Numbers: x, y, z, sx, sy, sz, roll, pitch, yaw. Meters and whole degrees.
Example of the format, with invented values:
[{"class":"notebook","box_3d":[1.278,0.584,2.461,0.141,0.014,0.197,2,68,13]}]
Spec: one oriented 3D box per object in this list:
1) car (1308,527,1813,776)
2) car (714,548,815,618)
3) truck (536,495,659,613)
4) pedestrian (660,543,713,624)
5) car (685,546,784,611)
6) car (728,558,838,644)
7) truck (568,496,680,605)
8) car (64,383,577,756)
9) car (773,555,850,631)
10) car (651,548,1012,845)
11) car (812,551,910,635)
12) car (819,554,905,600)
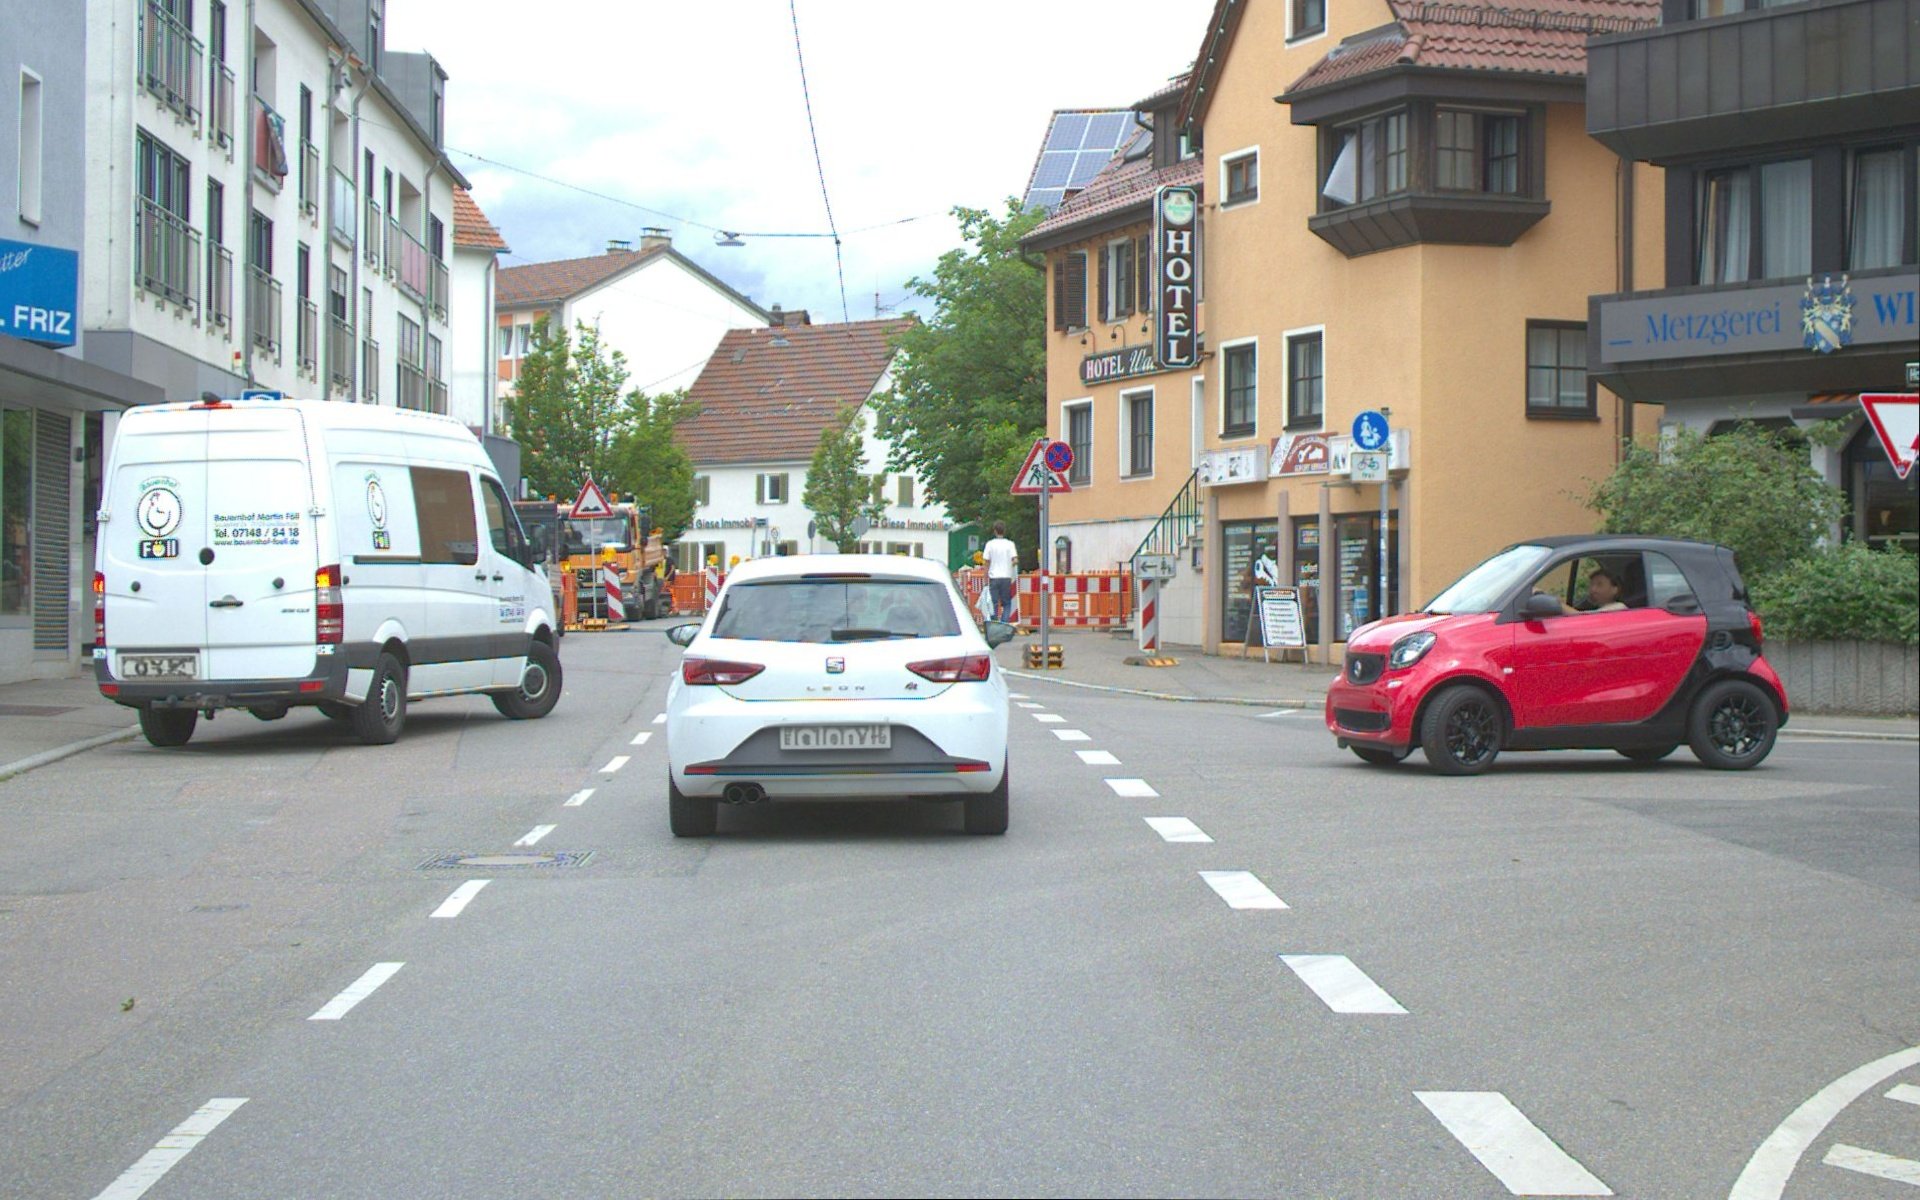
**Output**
[{"class":"car","box_3d":[3.936,0.323,22.776,2.807,1.507,1.709,1,2,-12]},{"class":"car","box_3d":[-4.162,-0.379,73.649,1.758,1.447,4.000,0,1,3]},{"class":"truck","box_3d":[-7.926,-1.035,75.608,2.152,2.451,5.395,1,1,-1]},{"class":"pedestrian","box_3d":[-6.850,-0.430,86.186,1.228,2.007,1.176,1,1,-1]},{"class":"car","box_3d":[-6.004,-0.595,91.922,1.795,1.696,3.999,1,1,9]},{"class":"car","box_3d":[-3.098,-0.004,59.522,1.758,1.447,4.001,0,1,-5]},{"class":"truck","box_3d":[-7.922,-1.195,81.520,2.152,2.451,5.395,1,1,-1]},{"class":"car","box_3d":[-4.994,-0.281,27.845,2.153,2.677,5.542,1,1,11]},{"class":"car","box_3d":[-3.682,-0.208,85.983,1.794,1.824,4.000,1,1,-1]},{"class":"car","box_3d":[-0.665,0.449,18.772,1.758,1.447,4.000,0,1,-1]},{"class":"car","box_3d":[-1.834,-0.145,64.189,1.761,1.492,3.789,1,1,-1]},{"class":"car","box_3d":[-3.158,-0.745,111.142,1.759,1.447,3.997,0,1,14]}]
